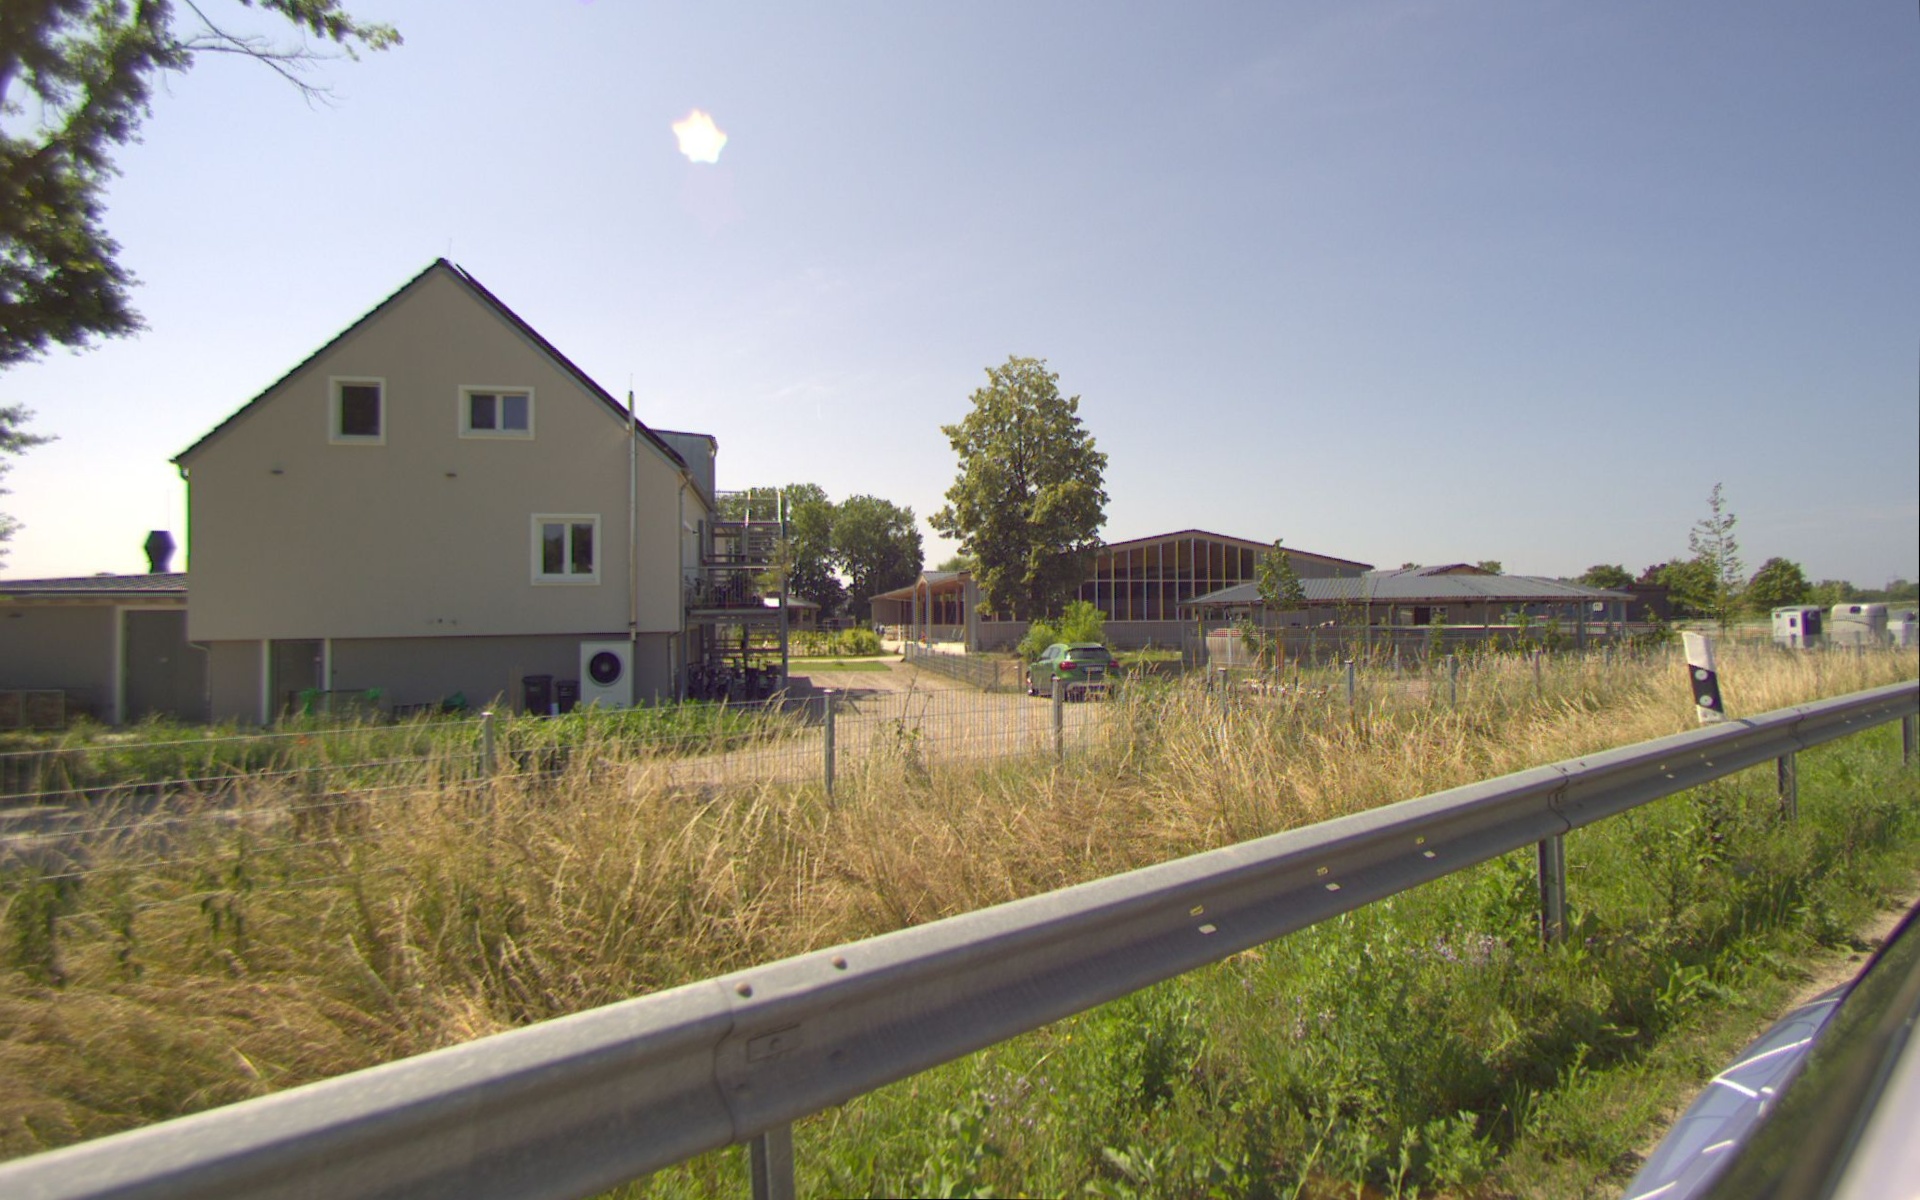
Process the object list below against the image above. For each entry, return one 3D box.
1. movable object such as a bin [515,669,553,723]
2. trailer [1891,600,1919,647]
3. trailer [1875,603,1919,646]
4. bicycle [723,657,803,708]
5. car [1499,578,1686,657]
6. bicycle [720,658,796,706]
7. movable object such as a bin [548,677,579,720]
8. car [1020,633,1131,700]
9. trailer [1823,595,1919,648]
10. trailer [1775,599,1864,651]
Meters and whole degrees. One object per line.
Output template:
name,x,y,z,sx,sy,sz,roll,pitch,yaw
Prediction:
movable object such as a bin,-9.632,2.161,22.903,0.648,1.165,0.579,-1,-2,-6
trailer,55.365,1.343,57.344,1.798,2.663,4.533,2,-1,13
trailer,62.918,1.571,65.501,2.163,2.723,5.194,0,-2,-8
bicycle,-5.022,2.105,25.894,1.930,1.207,0.715,-1,-3,-6
car,32.422,0.952,52.525,2.722,3.700,9.009,-1,-2,-11
bicycle,-5.337,2.162,26.829,1.930,1.207,0.715,-1,-2,-8
movable object such as a bin,-9.047,2.250,23.112,0.548,0.922,0.504,-1,-2,-6
car,3.093,1.790,28.063,1.894,1.601,4.378,-3,-2,-9
trailer,52.021,1.194,57.834,2.204,2.901,5.016,-1,-1,17
trailer,47.935,1.348,56.585,2.145,2.704,4.457,-1,1,17
